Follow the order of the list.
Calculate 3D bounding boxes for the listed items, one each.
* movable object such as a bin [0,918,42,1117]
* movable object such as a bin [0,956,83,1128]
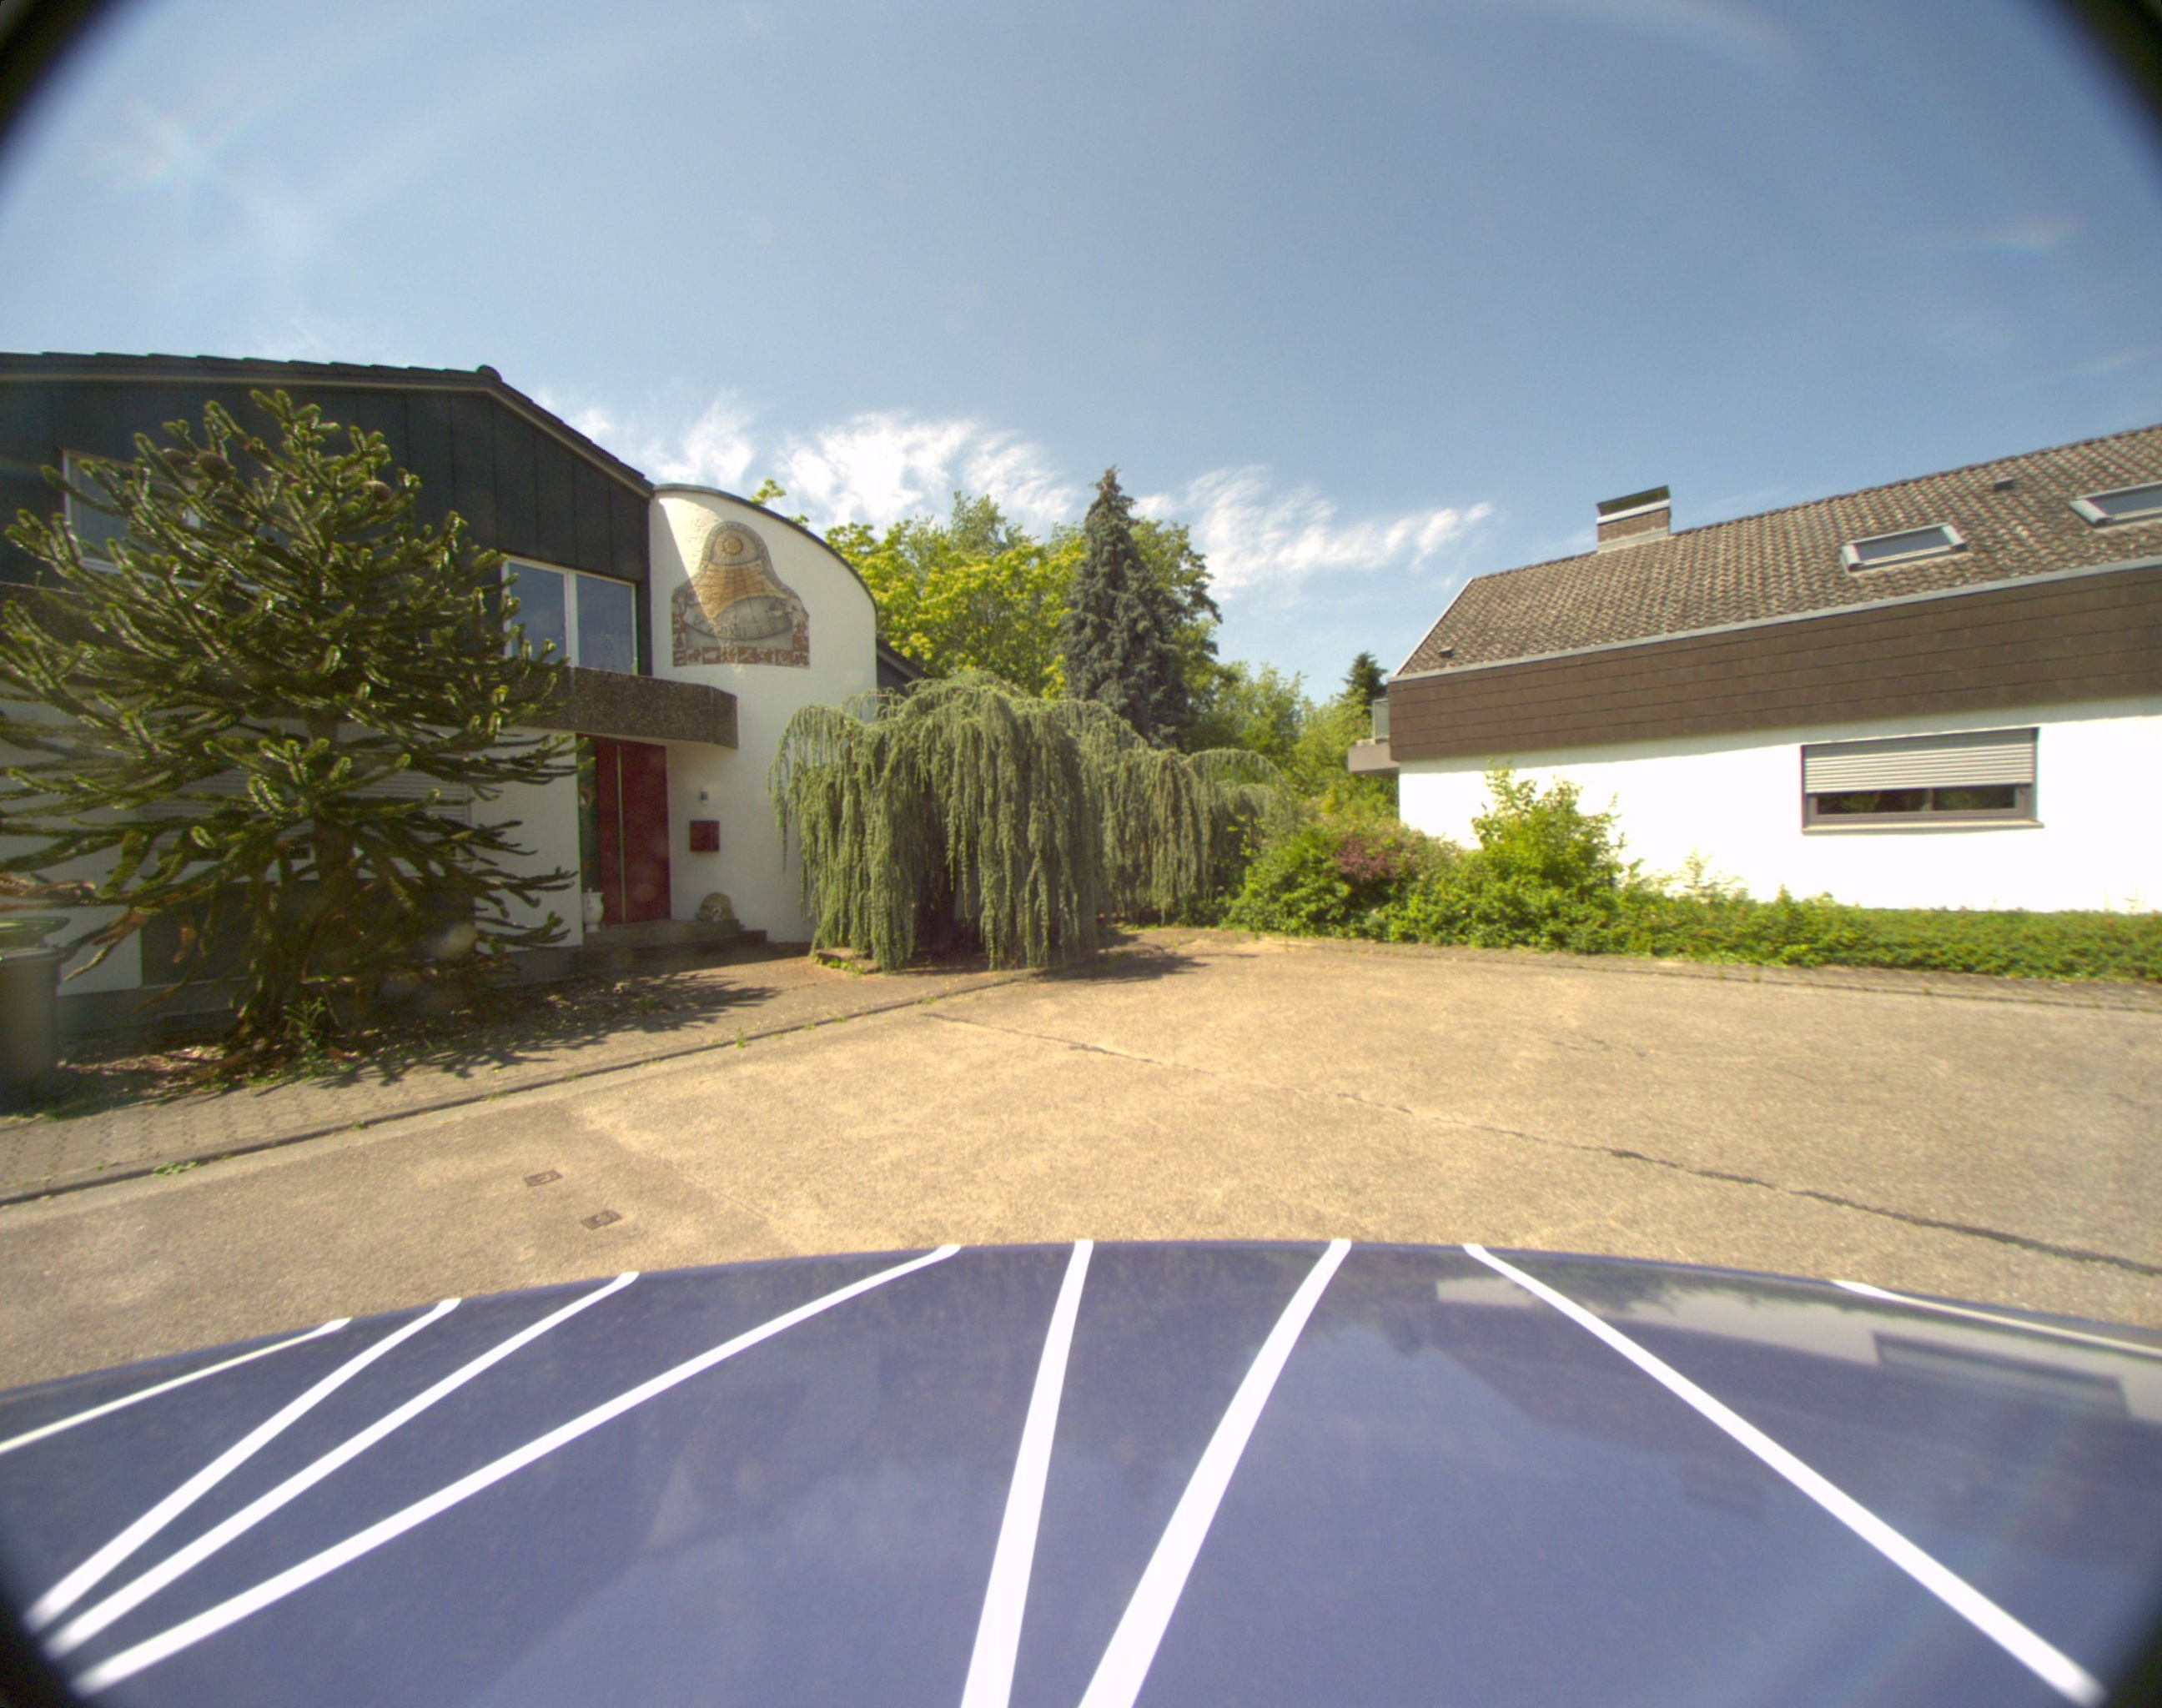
[{"bbox_3d":[-7.055,1.038,4.714,0.550,1.196,0.635,0,2,40],"label":"movable object such as a bin"},{"bbox_3d":[-6.402,1.108,4.453,0.388,0.944,0.524,-1,1,14],"label":"movable object such as a bin"}]
